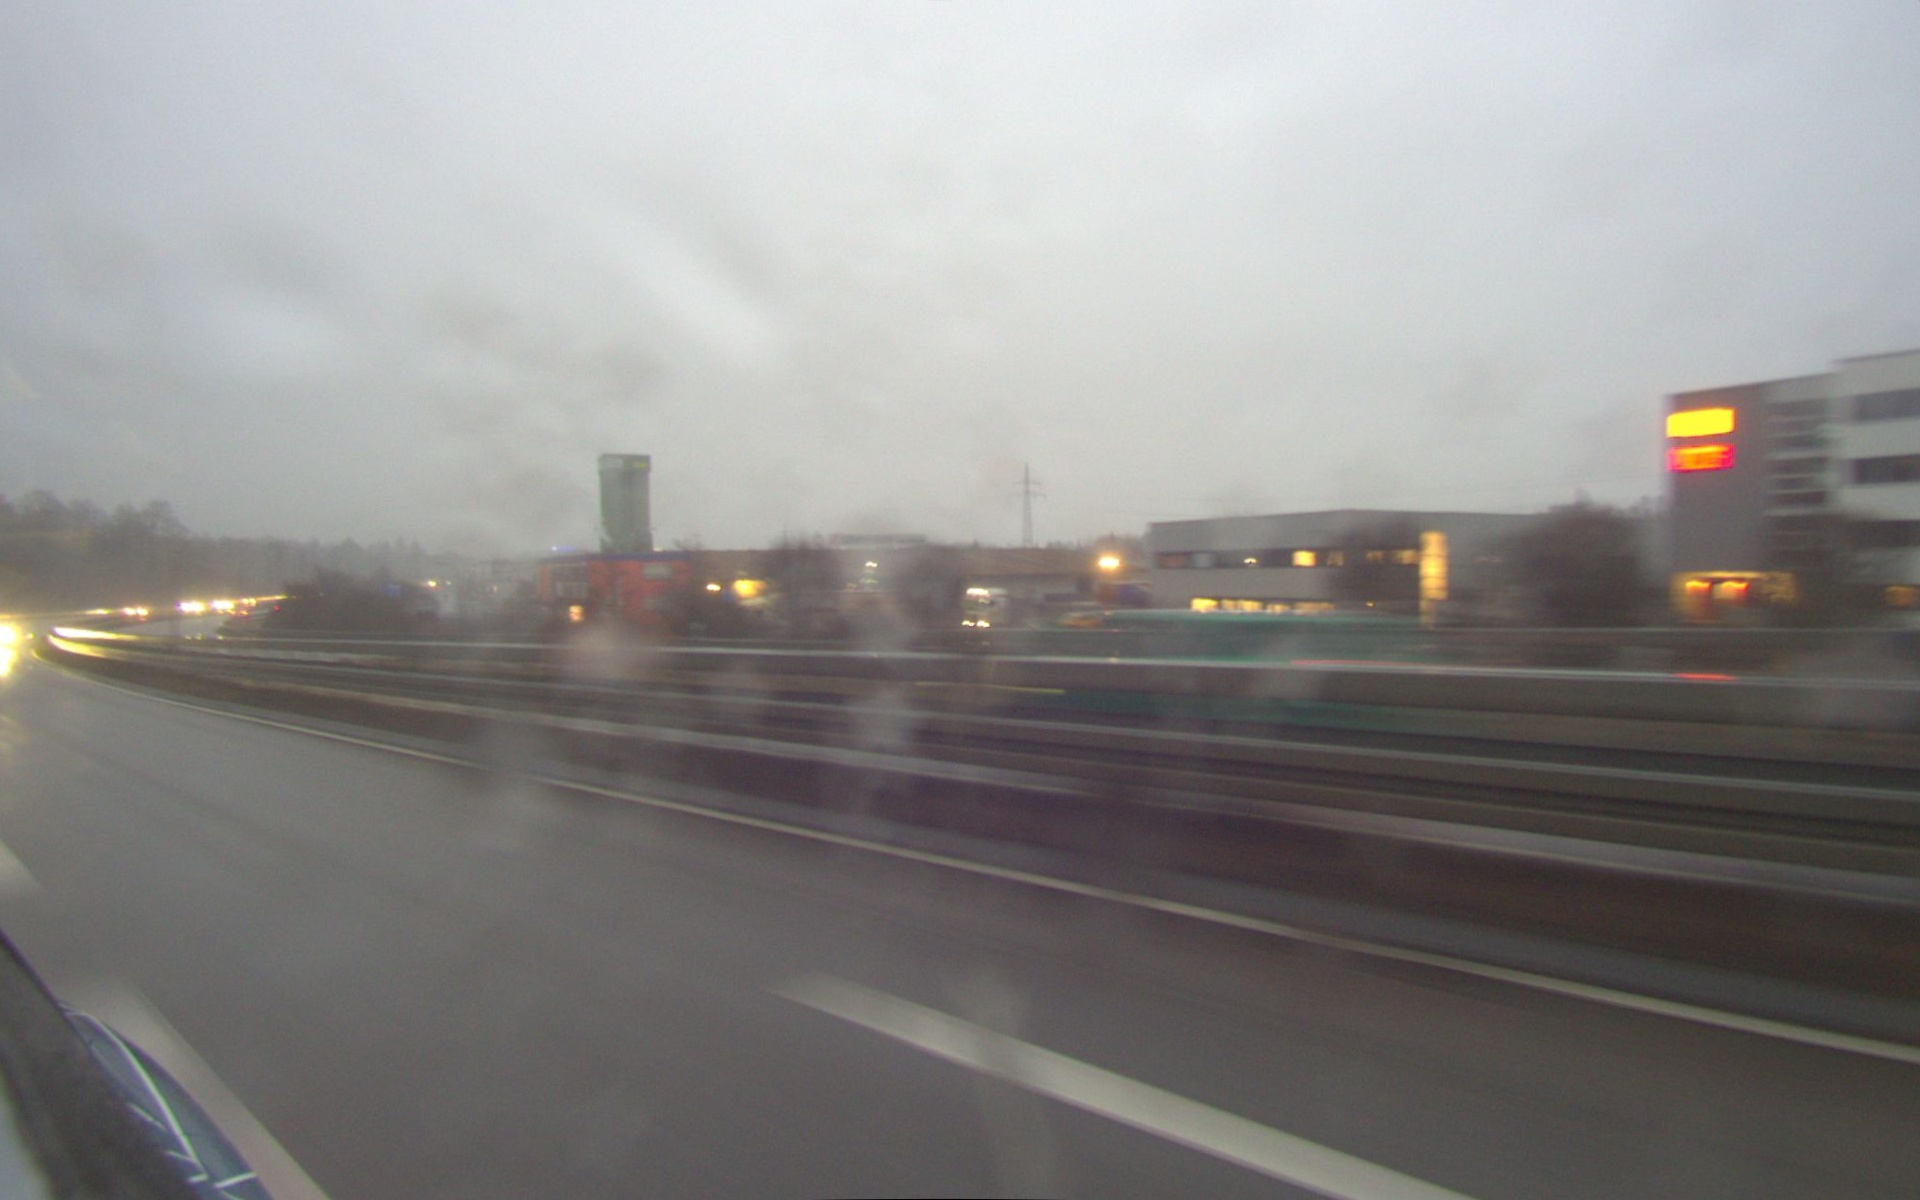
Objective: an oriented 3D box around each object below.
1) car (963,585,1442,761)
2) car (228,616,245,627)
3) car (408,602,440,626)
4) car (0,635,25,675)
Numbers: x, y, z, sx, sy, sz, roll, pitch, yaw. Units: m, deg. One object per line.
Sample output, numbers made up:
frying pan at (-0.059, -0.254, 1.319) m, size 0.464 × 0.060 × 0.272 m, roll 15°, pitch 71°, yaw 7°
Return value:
car at (2.250, 0.684, 10.338) m, size 4.507 × 1.416 × 1.660 m, roll -3°, pitch -2°, yaw 43°
car at (-99.991, 2.938, 139.866) m, size 1.648 × 1.431 × 4.093 m, roll 1°, pitch -1°, yaw -31°
car at (-74.735, 1.922, 141.329) m, size 3.147 × 3.235 × 9.972 m, roll 2°, pitch -1°, yaw -24°
car at (-53.277, 3.044, 55.386) m, size 1.966 × 2.028 × 4.013 m, roll -2°, pitch 1°, yaw -27°
